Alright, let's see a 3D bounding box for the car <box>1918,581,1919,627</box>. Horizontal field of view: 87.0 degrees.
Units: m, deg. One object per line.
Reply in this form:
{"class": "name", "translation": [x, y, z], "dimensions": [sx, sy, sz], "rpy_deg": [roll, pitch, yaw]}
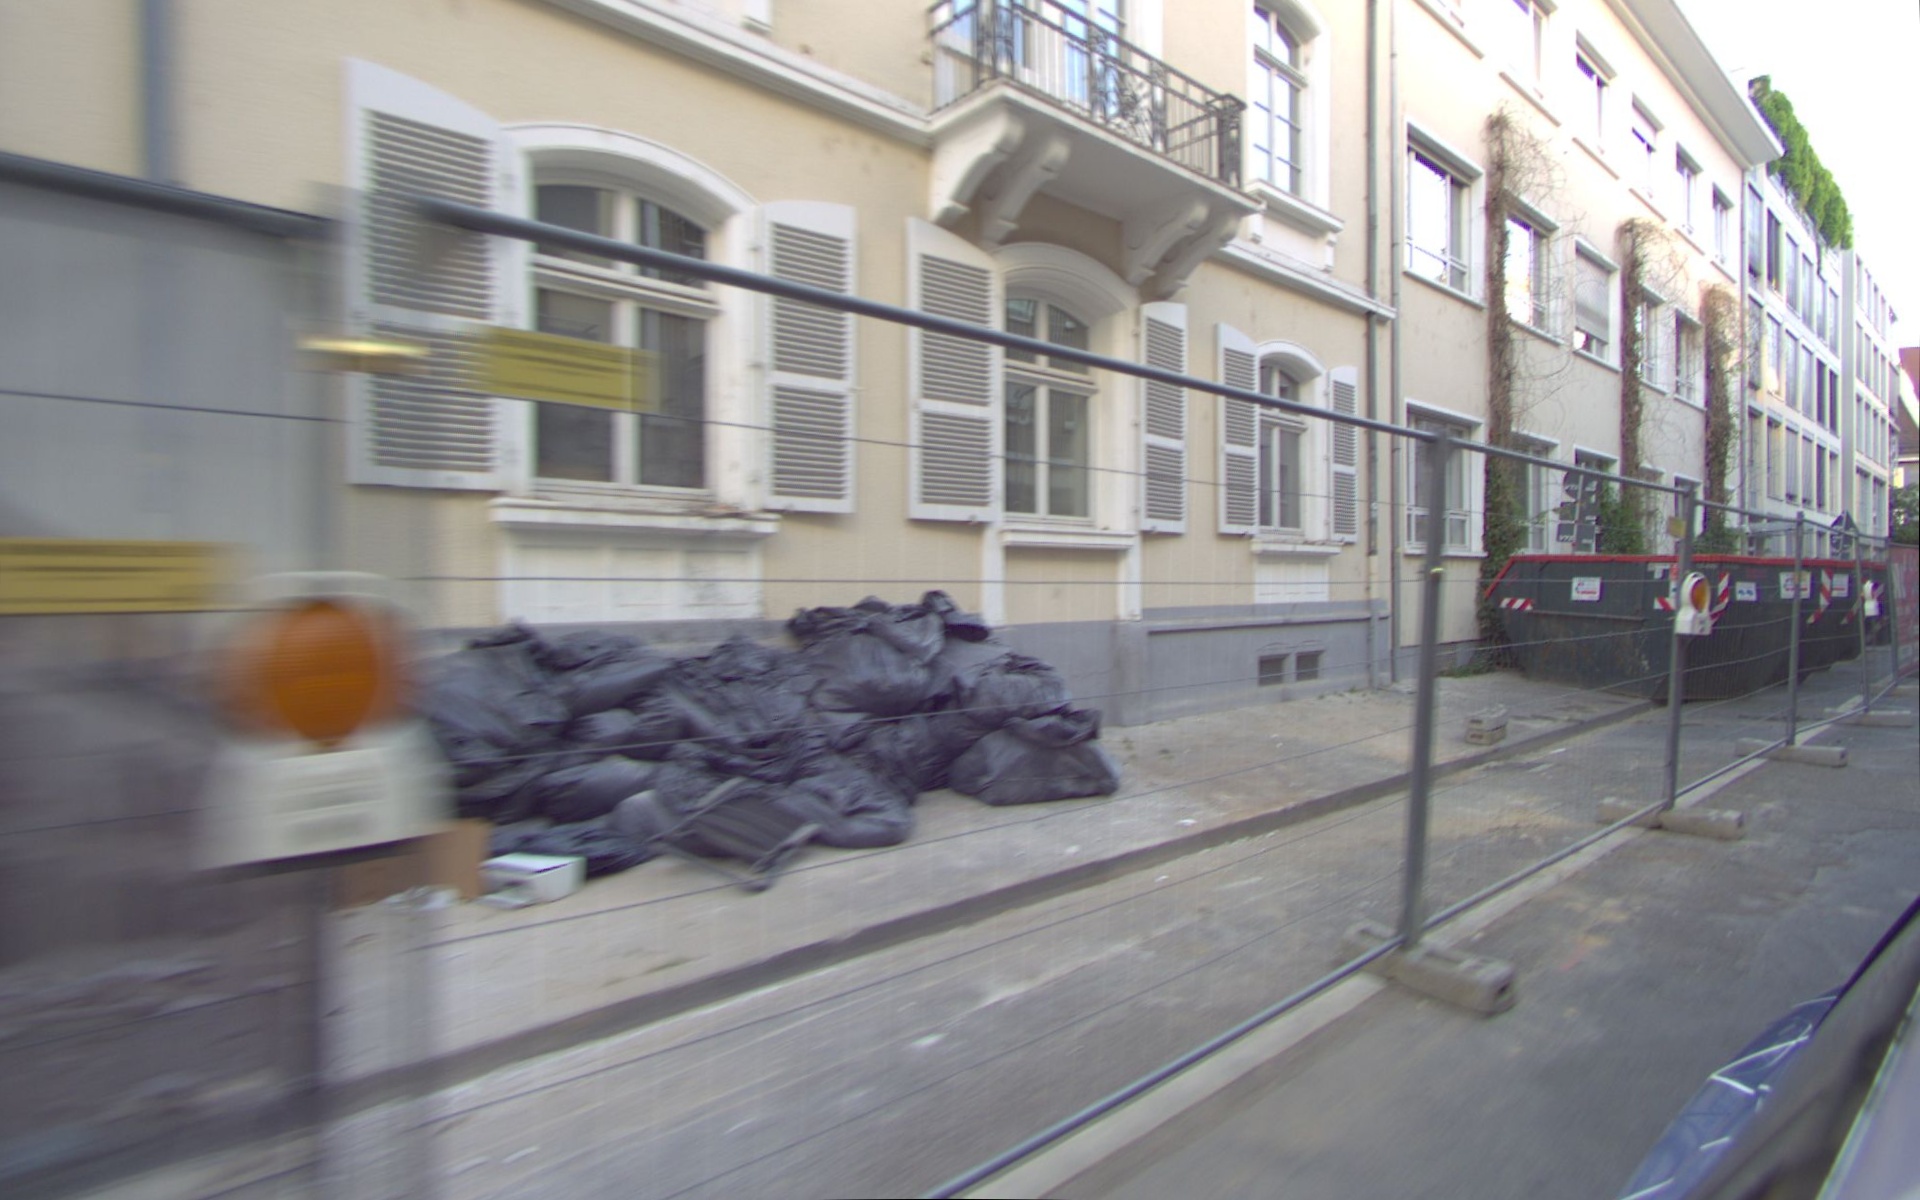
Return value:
{"class": "car", "translation": [29.206, 0.075, 29.533], "dimensions": [3.714, 1.309, 1.492], "rpy_deg": [-1, 0, -42]}

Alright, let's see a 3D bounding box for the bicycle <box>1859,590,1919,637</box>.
{"class": "bicycle", "translation": [23.099, 0.311, 24.761], "dimensions": [0.463, 1.096, 1.778], "rpy_deg": [0, 1, -7]}
